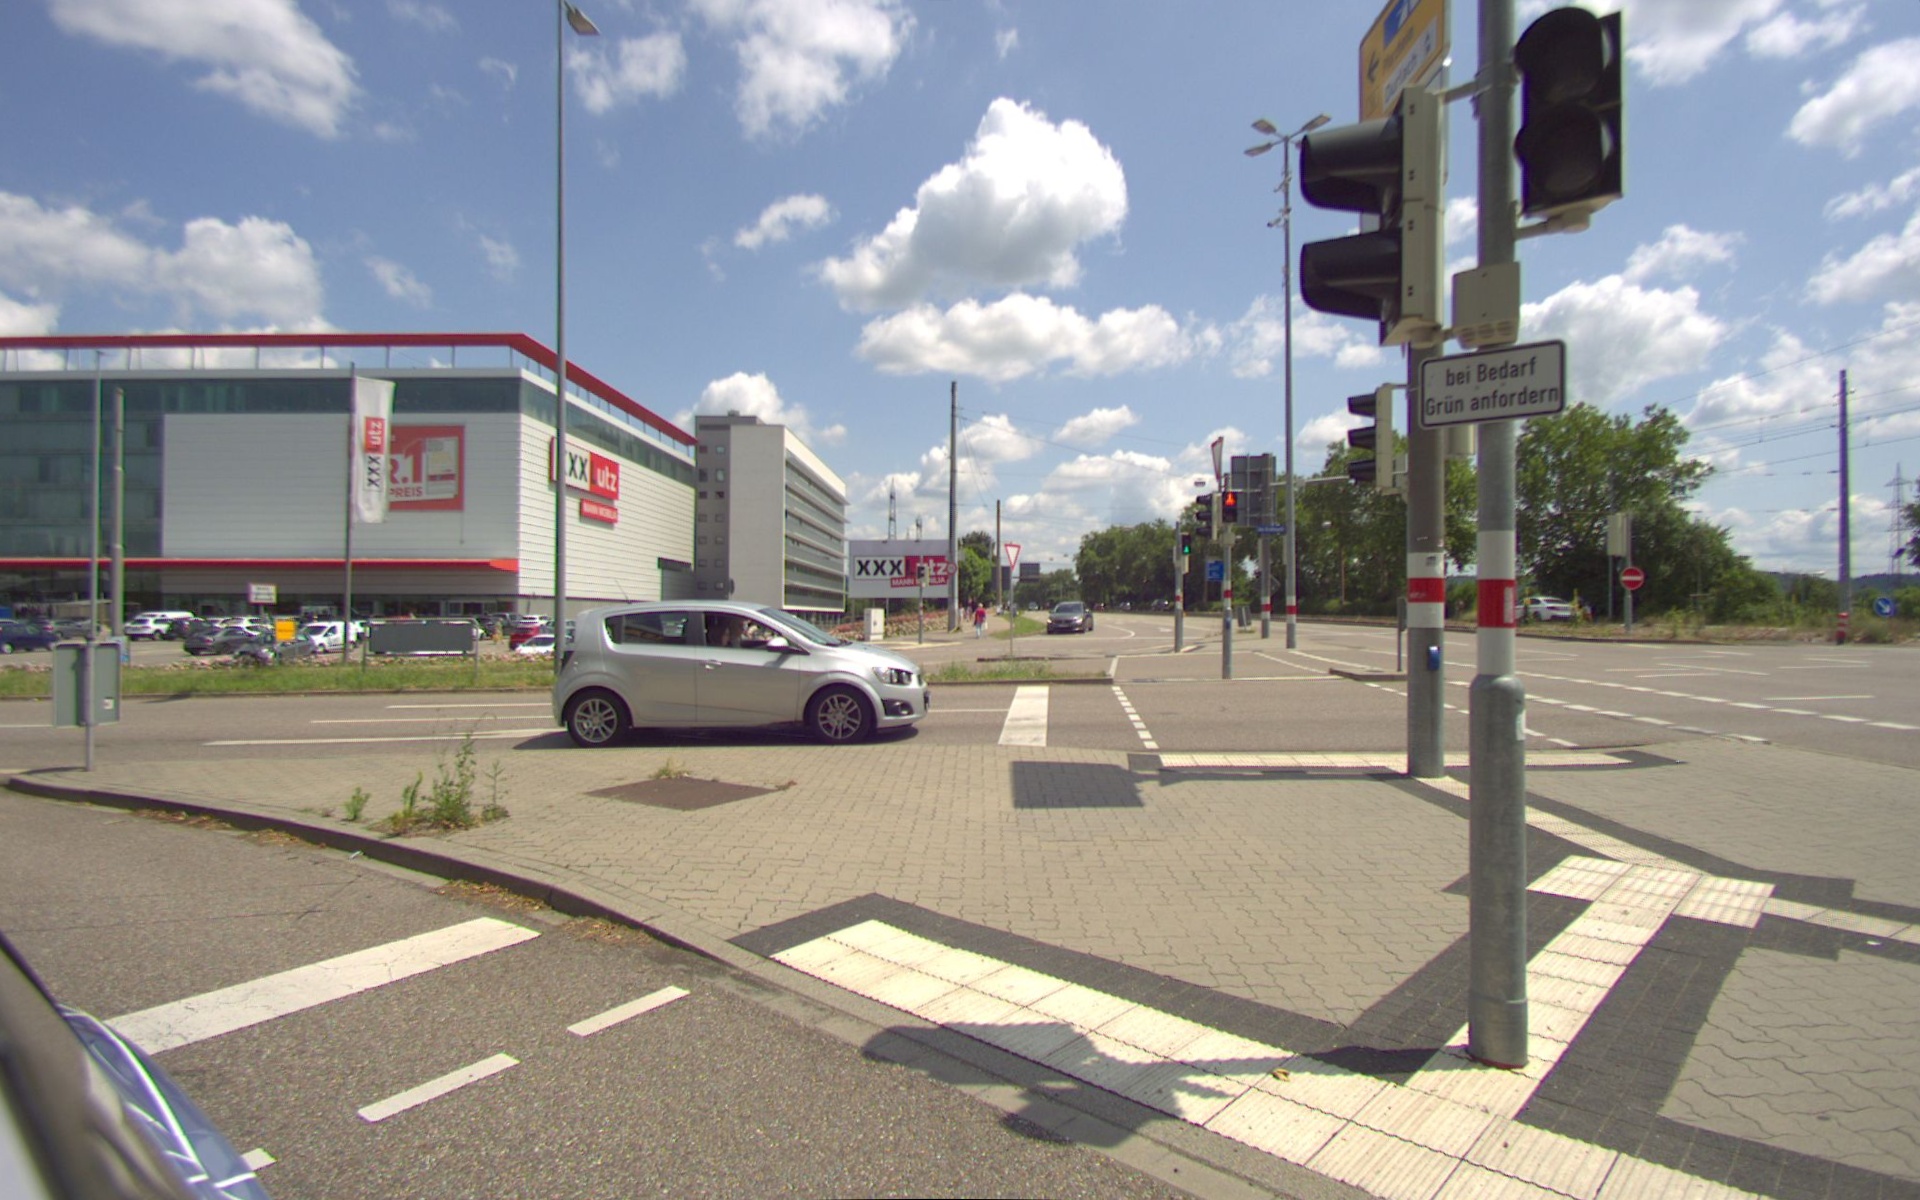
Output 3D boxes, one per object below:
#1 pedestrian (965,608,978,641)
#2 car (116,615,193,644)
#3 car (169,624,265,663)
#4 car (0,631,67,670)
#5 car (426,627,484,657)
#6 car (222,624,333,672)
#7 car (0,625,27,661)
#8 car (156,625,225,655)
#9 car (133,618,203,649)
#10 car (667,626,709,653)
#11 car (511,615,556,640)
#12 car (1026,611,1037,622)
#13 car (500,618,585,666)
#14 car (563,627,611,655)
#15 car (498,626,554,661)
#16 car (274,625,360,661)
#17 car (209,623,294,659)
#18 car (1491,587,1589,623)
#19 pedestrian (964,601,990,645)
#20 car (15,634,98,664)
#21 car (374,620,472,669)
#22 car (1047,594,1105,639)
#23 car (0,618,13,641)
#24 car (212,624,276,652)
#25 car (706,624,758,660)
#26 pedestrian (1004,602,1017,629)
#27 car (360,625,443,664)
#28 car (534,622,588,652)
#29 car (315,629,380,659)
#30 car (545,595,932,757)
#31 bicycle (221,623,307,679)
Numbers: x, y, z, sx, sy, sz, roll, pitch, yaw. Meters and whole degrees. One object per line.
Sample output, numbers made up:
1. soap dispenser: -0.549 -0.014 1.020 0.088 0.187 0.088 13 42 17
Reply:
1. pedestrian: 0.635 1.344 56.041 0.591 1.824 0.532 -1 -2 12
2. car: -56.938 2.076 71.660 1.972 2.004 4.361 -1 -2 1
3. car: -40.391 2.333 55.174 1.972 2.004 4.361 -1 -2 1
4. car: -52.523 2.781 56.232 1.972 2.004 4.361 -1 -1 1
5. car: -35.054 2.895 70.338 1.972 2.004 4.084 -1 -2 1
6. car: -30.426 2.114 45.290 1.972 2.004 4.361 -1 -2 1
7. car: -54.908 2.410 56.519 1.817 2.004 4.084 0 -1 0
8. car: -54.295 2.773 71.502 1.753 2.029 3.998 -1 -2 1
9. car: -61.707 2.602 78.965 1.844 2.324 4.569 -1 -2 1
10. car: -20.245 2.927 75.517 1.972 2.004 4.361 -1 -2 1
11. car: -36.252 2.346 86.076 1.974 2.004 4.082 -1 -2 3
12. car: 14.587 3.424 206.433 1.977 2.029 3.990 -1 -2 8
13. car: -18.452 1.852 44.974 1.974 2.029 3.996 -1 -2 3
14. car: -28.016 3.057 76.140 1.972 2.004 4.361 -1 -2 1
15. car: -25.888 2.558 60.556 1.967 2.004 5.320 0 -2 -10
16. car: -35.461 2.347 55.958 1.972 1.853 4.361 -1 -2 1
17. car: -42.596 2.442 60.969 1.972 2.004 4.361 1 -2 1
18. car: 31.647 0.333 55.420 1.969 1.822 5.141 0 -2 -6
19. pedestrian: 0.757 0.996 44.274 0.852 1.851 0.801 -1 1 -27
20. car: -64.317 3.476 72.148 1.973 2.004 4.359 -1 -2 2
21. car: -23.484 1.923 44.449 1.972 2.004 4.361 -1 -2 1
22. car: 5.563 0.831 48.136 1.983 2.029 3.976 -2 -2 18
23. car: -76.655 2.315 78.195 2.168 1.792 5.133 -1 -2 0
24. car: -54.103 2.887 76.588 1.972 2.029 3.998 -1 -2 1
25. car: -13.339 2.442 59.442 1.972 2.004 4.361 -1 -2 1
26. pedestrian: 3.830 1.179 76.575 0.769 2.029 0.563 -2 -2 23
27. car: -30.356 2.375 55.159 1.972 2.004 4.595 0 -1 1
28. car: -27.757 2.596 70.625 1.972 2.004 4.626 -1 -2 0
29. car: -42.559 3.021 70.436 1.972 2.004 4.084 -1 -2 1
30. car: -2.234 0.750 11.023 3.780 1.481 1.900 -2 0 0
31. bicycle: -21.719 1.586 31.610 2.021 1.688 1.020 -1 -2 2
